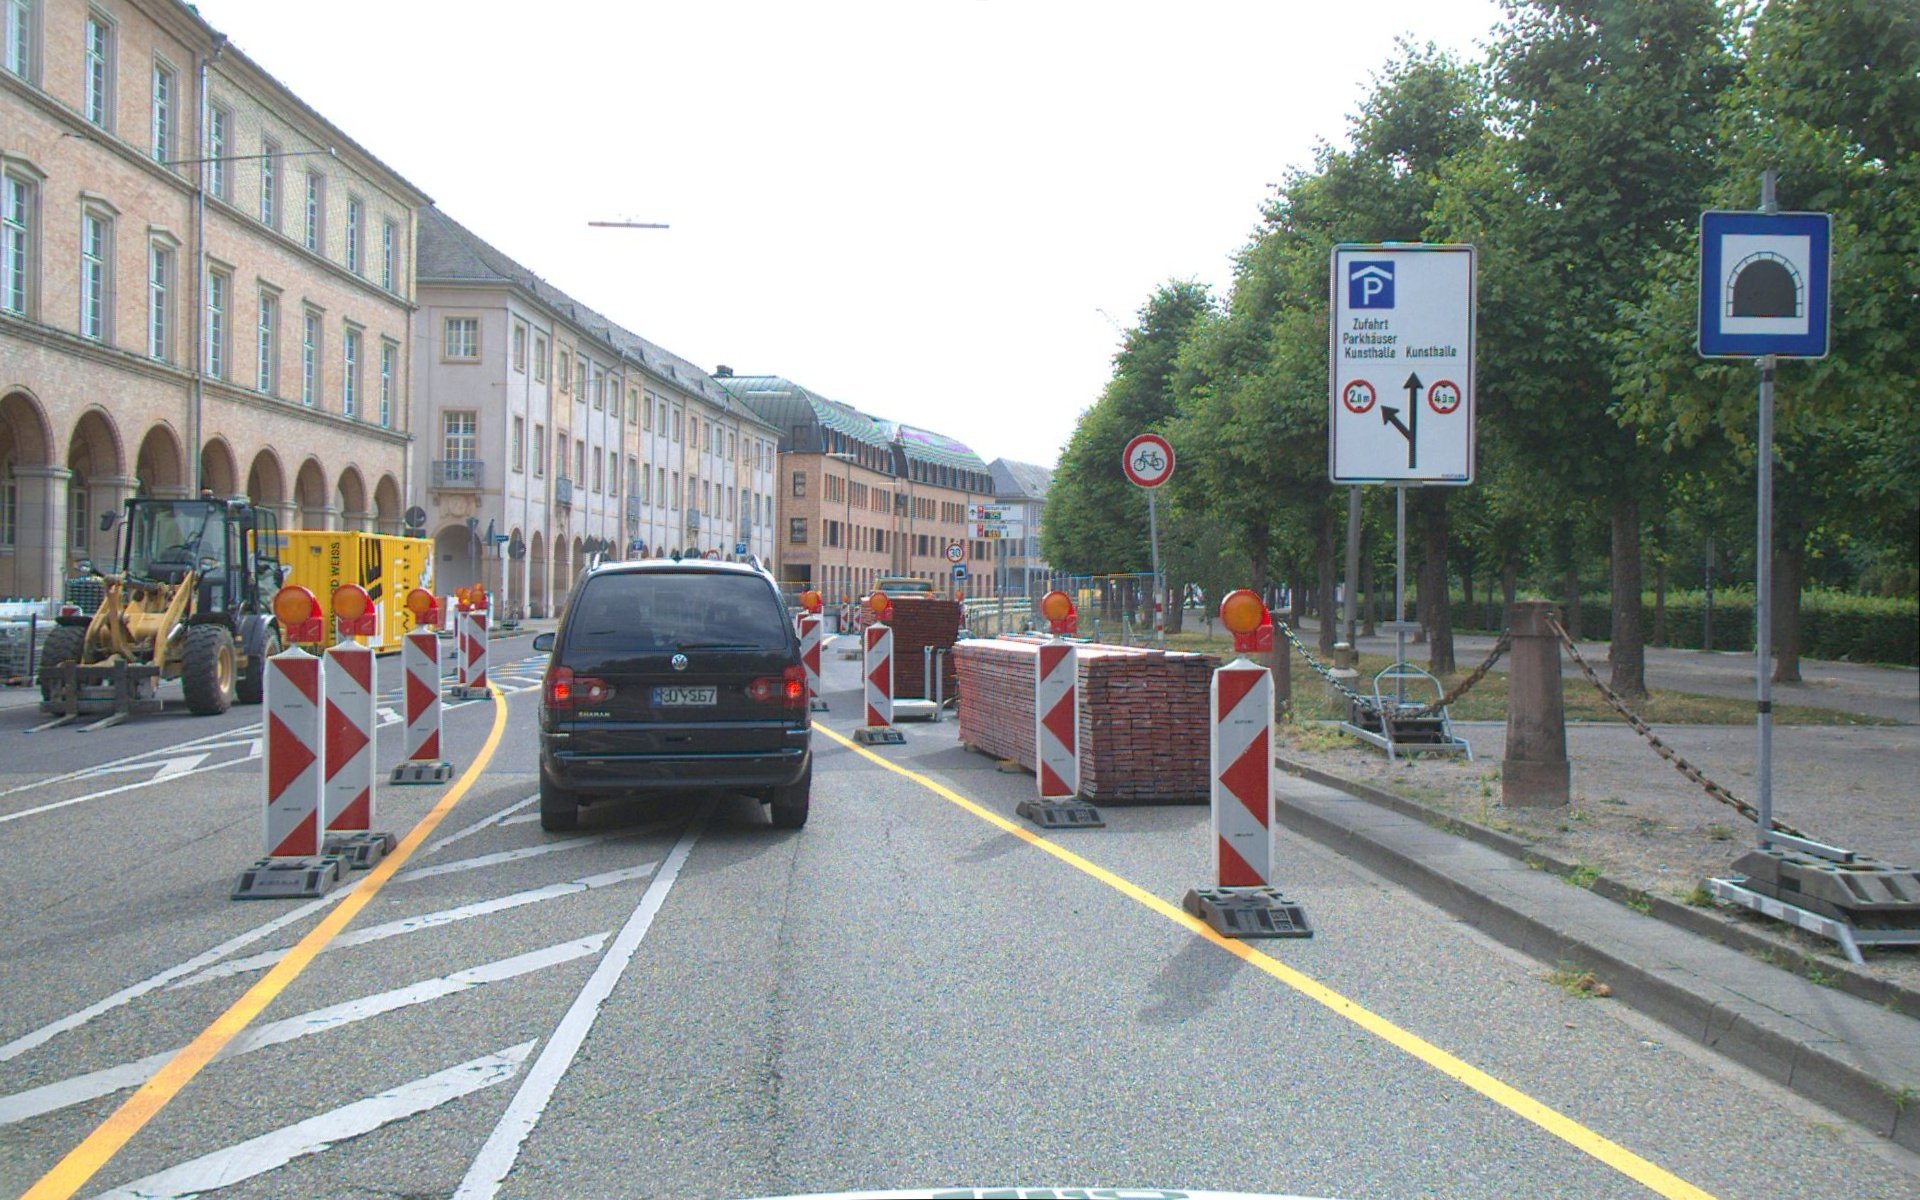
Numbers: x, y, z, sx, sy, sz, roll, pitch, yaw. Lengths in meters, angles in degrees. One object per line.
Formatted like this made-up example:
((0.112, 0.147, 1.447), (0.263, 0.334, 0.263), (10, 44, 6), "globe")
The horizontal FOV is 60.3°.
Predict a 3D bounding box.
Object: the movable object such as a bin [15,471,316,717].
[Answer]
((-9.855, -0.065, 20.972), (2.076, 2.766, 4.611), (1, 0, -8), "movable object such as a bin")

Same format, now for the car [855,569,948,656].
((-1.576, 0.270, 43.097), (1.956, 2.048, 4.338), (1, 2, -8), "car")

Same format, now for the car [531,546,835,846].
((-2.082, 0.545, 11.789), (1.763, 1.738, 4.117), (0, 0, -13), "car")
